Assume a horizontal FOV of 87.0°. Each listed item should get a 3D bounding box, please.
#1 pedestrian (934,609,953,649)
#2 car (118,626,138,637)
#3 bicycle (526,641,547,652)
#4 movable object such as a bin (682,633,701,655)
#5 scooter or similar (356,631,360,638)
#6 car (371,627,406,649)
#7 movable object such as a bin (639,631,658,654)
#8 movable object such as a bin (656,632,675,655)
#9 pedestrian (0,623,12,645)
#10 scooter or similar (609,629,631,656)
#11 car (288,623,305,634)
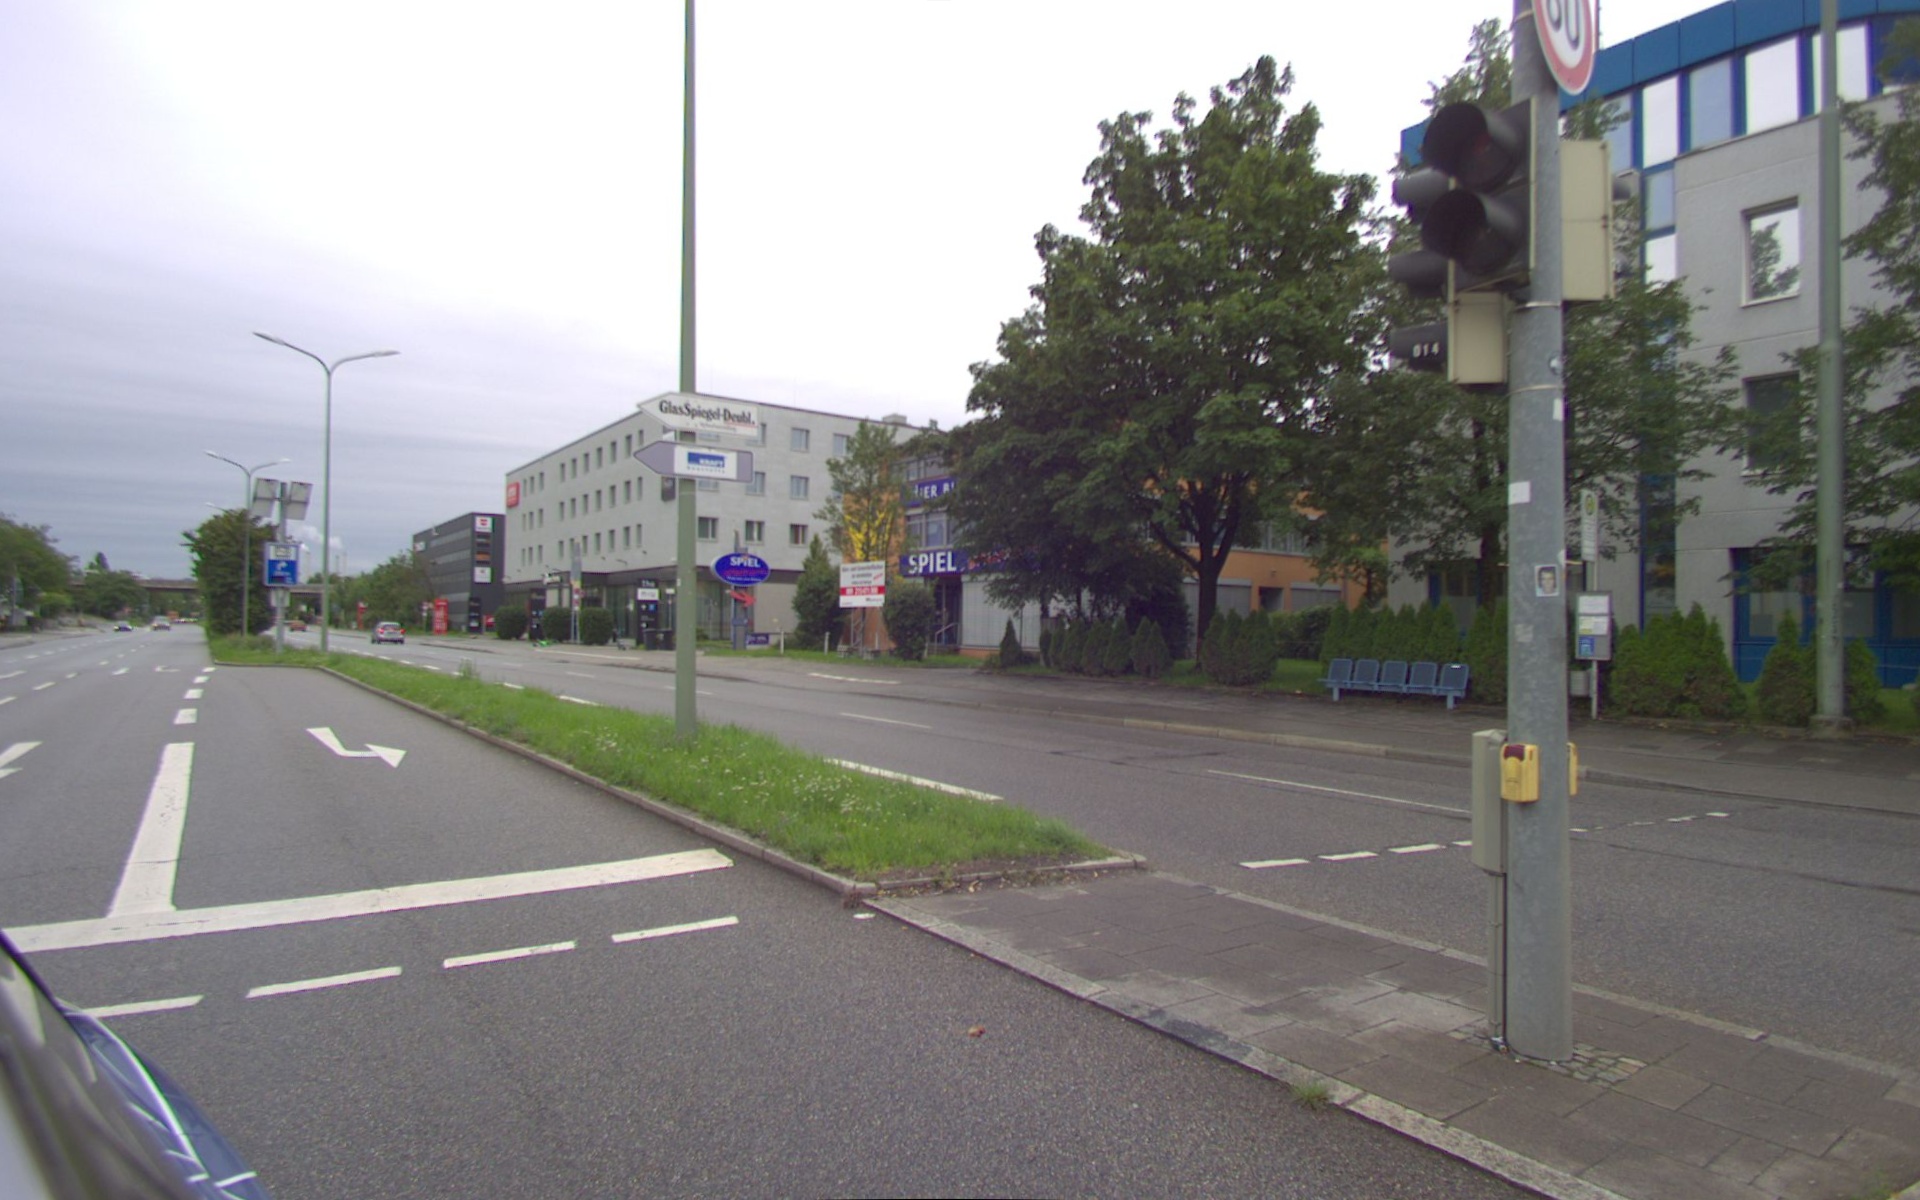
[{"bbox_3d":[-0.706,1.253,44.322,0.649,1.725,0.665,0,-1,-18],"label":"pedestrian"},{"bbox_3d":[-111.384,4.149,135.530,1.968,1.412,4.664,0,-1,-38],"label":"car"},{"bbox_3d":[-24.669,2.705,58.989,0.710,0.553,1.736,-3,0,-37],"label":"bicycle"},{"bbox_3d":[-13.401,2.176,50.512,0.727,1.086,0.657,0,-1,-37],"label":"movable object such as a bin"},{"bbox_3d":[-82.138,4.733,138.104,0.300,1.012,1.222,0,-1,-39],"label":"scooter or similar"},{"bbox_3d":[-42.735,2.806,75.658,1.790,1.569,4.036,3,-3,-36],"label":"car"},{"bbox_3d":[-15.307,2.099,49.777,0.727,1.086,0.657,0,-1,-37],"label":"movable object such as a bin"},{"bbox_3d":[-14.423,2.123,49.575,0.727,1.086,0.657,0,-1,-37],"label":"movable object such as a bin"},{"bbox_3d":[-81.375,2.875,86.314,0.672,1.835,0.689,0,-1,-38],"label":"pedestrian"},{"bbox_3d":[-17.183,2.147,51.175,0.578,1.287,1.407,-4,1,-37],"label":"scooter or similar"},{"bbox_3d":[-97.200,4.214,148.204,1.713,1.560,4.313,3,-3,-37],"label":"car"}]
